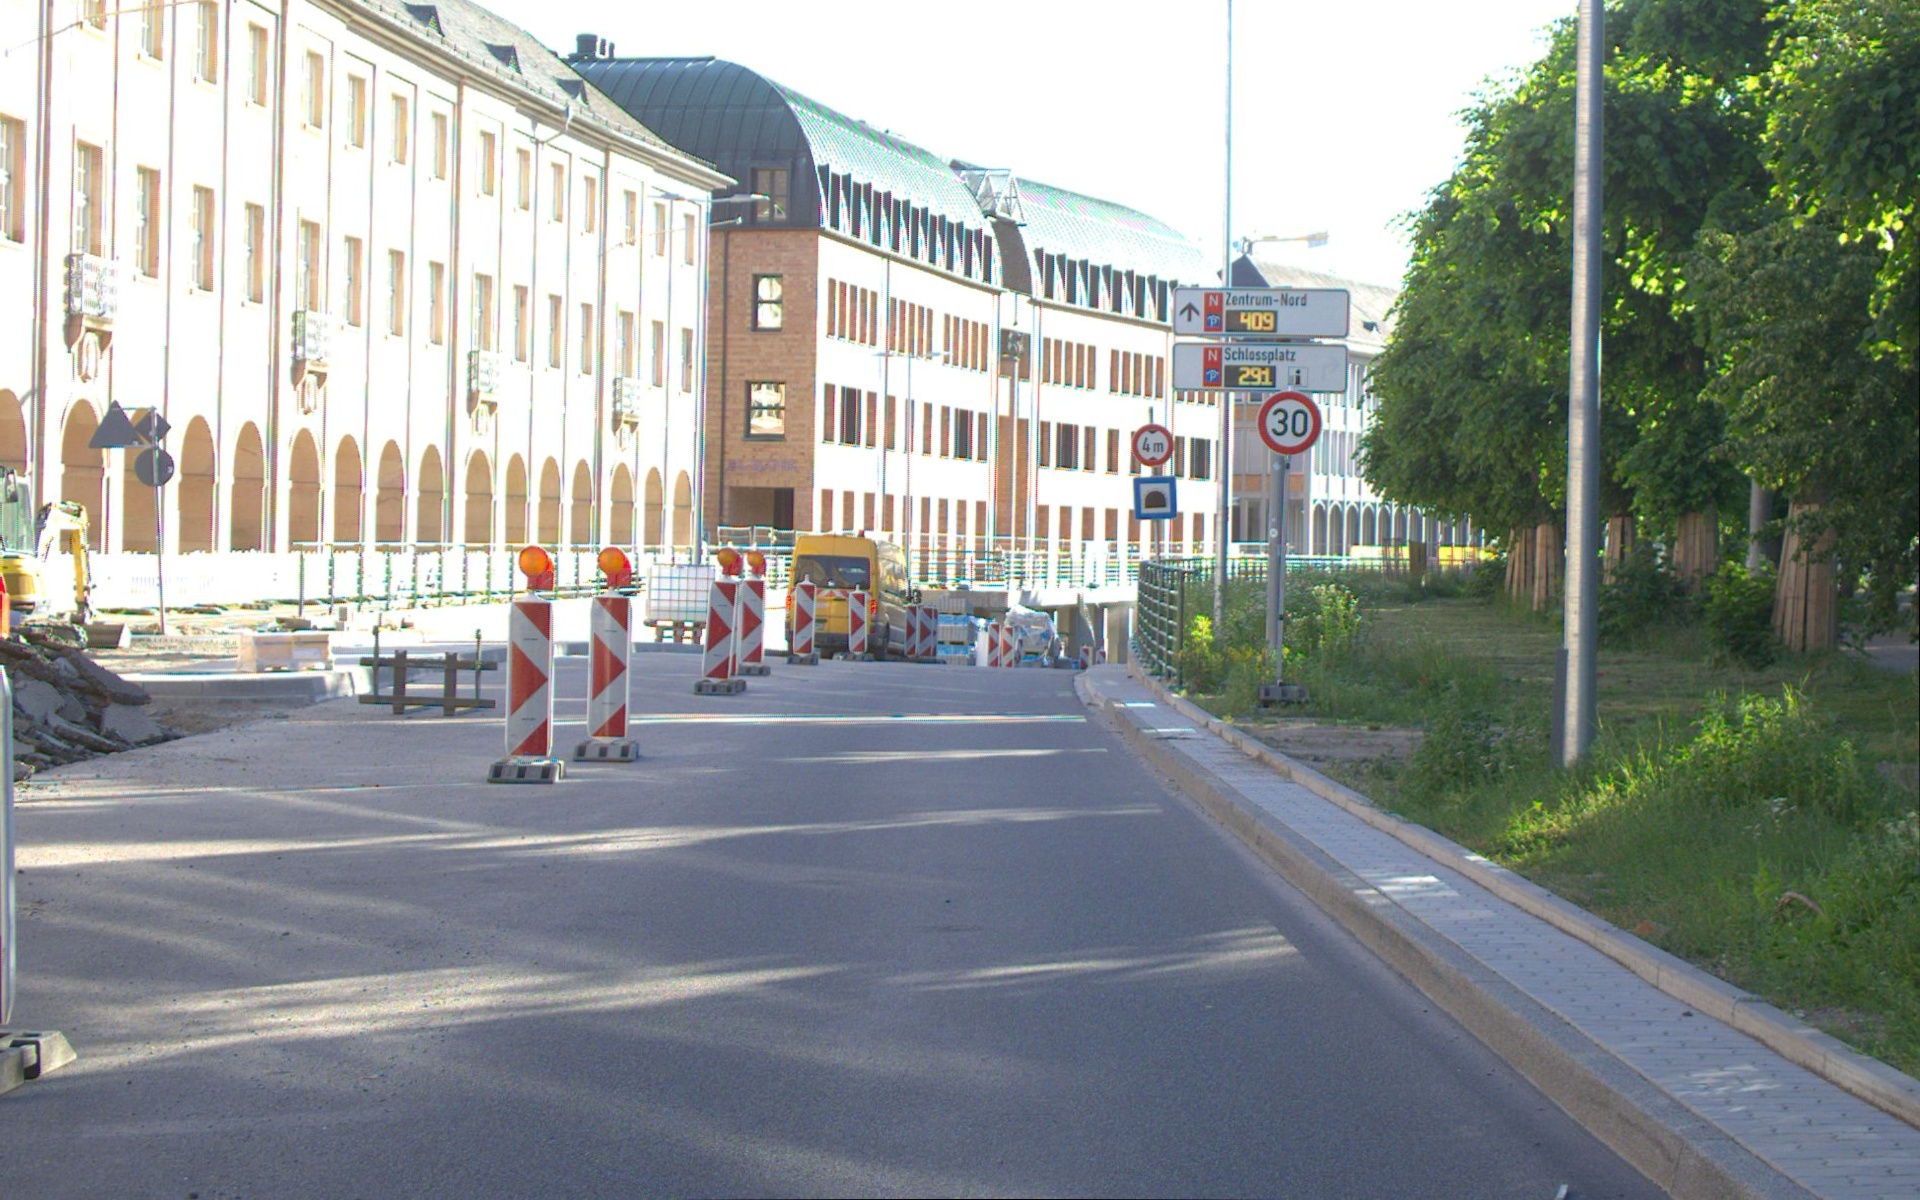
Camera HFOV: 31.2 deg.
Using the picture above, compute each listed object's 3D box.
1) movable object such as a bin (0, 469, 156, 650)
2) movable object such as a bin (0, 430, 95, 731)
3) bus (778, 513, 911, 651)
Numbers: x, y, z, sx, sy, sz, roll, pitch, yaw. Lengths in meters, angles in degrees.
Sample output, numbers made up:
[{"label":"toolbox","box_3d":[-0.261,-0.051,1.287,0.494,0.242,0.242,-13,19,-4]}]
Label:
[{"label":"movable object such as a bin","box_3d":[-12.947,-0.587,46.971,2.546,2.340,4.459,1,1,5]},{"label":"movable object such as a bin","box_3d":[-8.873,-0.190,28.448,2.074,2.467,4.617,1,2,2]},{"label":"bus","box_3d":[-2.352,-0.328,71.336,2.073,2.677,4.682,1,-1,6]}]
